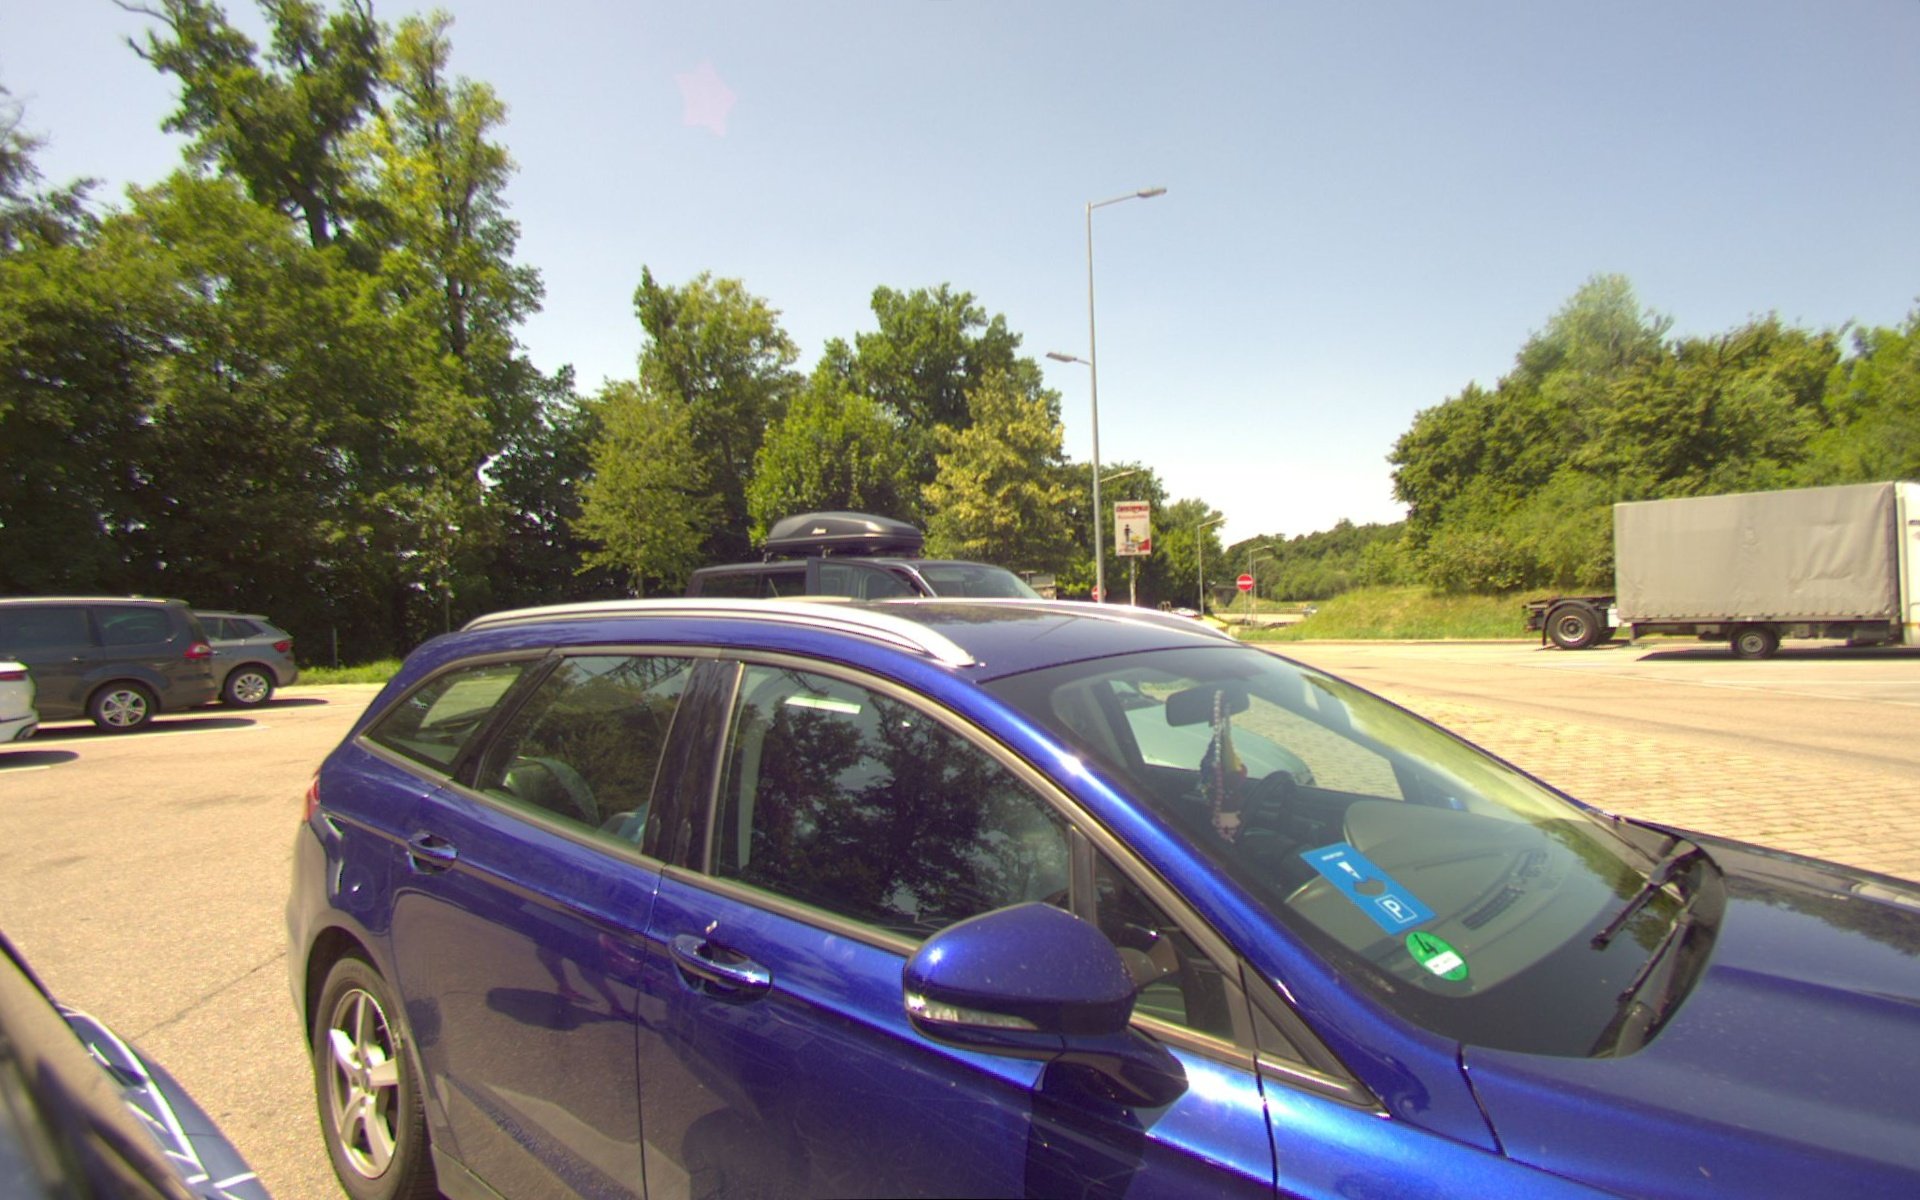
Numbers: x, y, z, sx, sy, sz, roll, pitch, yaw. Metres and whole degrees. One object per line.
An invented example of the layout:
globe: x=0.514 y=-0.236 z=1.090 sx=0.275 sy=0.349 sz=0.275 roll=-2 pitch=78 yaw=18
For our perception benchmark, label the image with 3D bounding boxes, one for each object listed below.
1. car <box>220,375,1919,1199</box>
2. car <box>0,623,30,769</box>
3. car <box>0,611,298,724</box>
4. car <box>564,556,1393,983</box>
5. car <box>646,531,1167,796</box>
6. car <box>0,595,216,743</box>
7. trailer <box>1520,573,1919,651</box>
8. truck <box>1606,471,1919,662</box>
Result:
car: x=0.247 y=0.635 z=2.089 sx=4.637 sy=1.493 sz=1.720 roll=-2 pitch=-1 yaw=39
car: x=-10.996 y=0.932 z=9.174 sx=3.767 sy=1.396 sz=1.722 roll=0 pitch=-1 yaw=-43
car: x=-12.594 y=0.955 z=15.719 sx=3.762 sy=1.551 sz=1.724 roll=0 pitch=-1 yaw=-38
car: x=-0.215 y=0.672 z=5.801 sx=4.637 sy=1.545 sz=1.720 roll=-2 pitch=0 yaw=39
car: x=-0.659 y=0.510 z=9.374 sx=4.635 sy=1.884 sz=1.937 roll=-2 pitch=0 yaw=37
car: x=-11.655 y=0.821 z=12.638 sx=3.762 sy=1.737 sz=1.724 roll=0 pitch=-1 yaw=-38
trailer: x=17.636 y=0.310 z=23.170 sx=8.088 sy=1.385 sz=2.200 roll=-4 pitch=-1 yaw=41
truck: x=16.707 y=-0.602 z=18.949 sx=7.337 sy=3.235 sz=2.502 roll=-4 pitch=-1 yaw=41
